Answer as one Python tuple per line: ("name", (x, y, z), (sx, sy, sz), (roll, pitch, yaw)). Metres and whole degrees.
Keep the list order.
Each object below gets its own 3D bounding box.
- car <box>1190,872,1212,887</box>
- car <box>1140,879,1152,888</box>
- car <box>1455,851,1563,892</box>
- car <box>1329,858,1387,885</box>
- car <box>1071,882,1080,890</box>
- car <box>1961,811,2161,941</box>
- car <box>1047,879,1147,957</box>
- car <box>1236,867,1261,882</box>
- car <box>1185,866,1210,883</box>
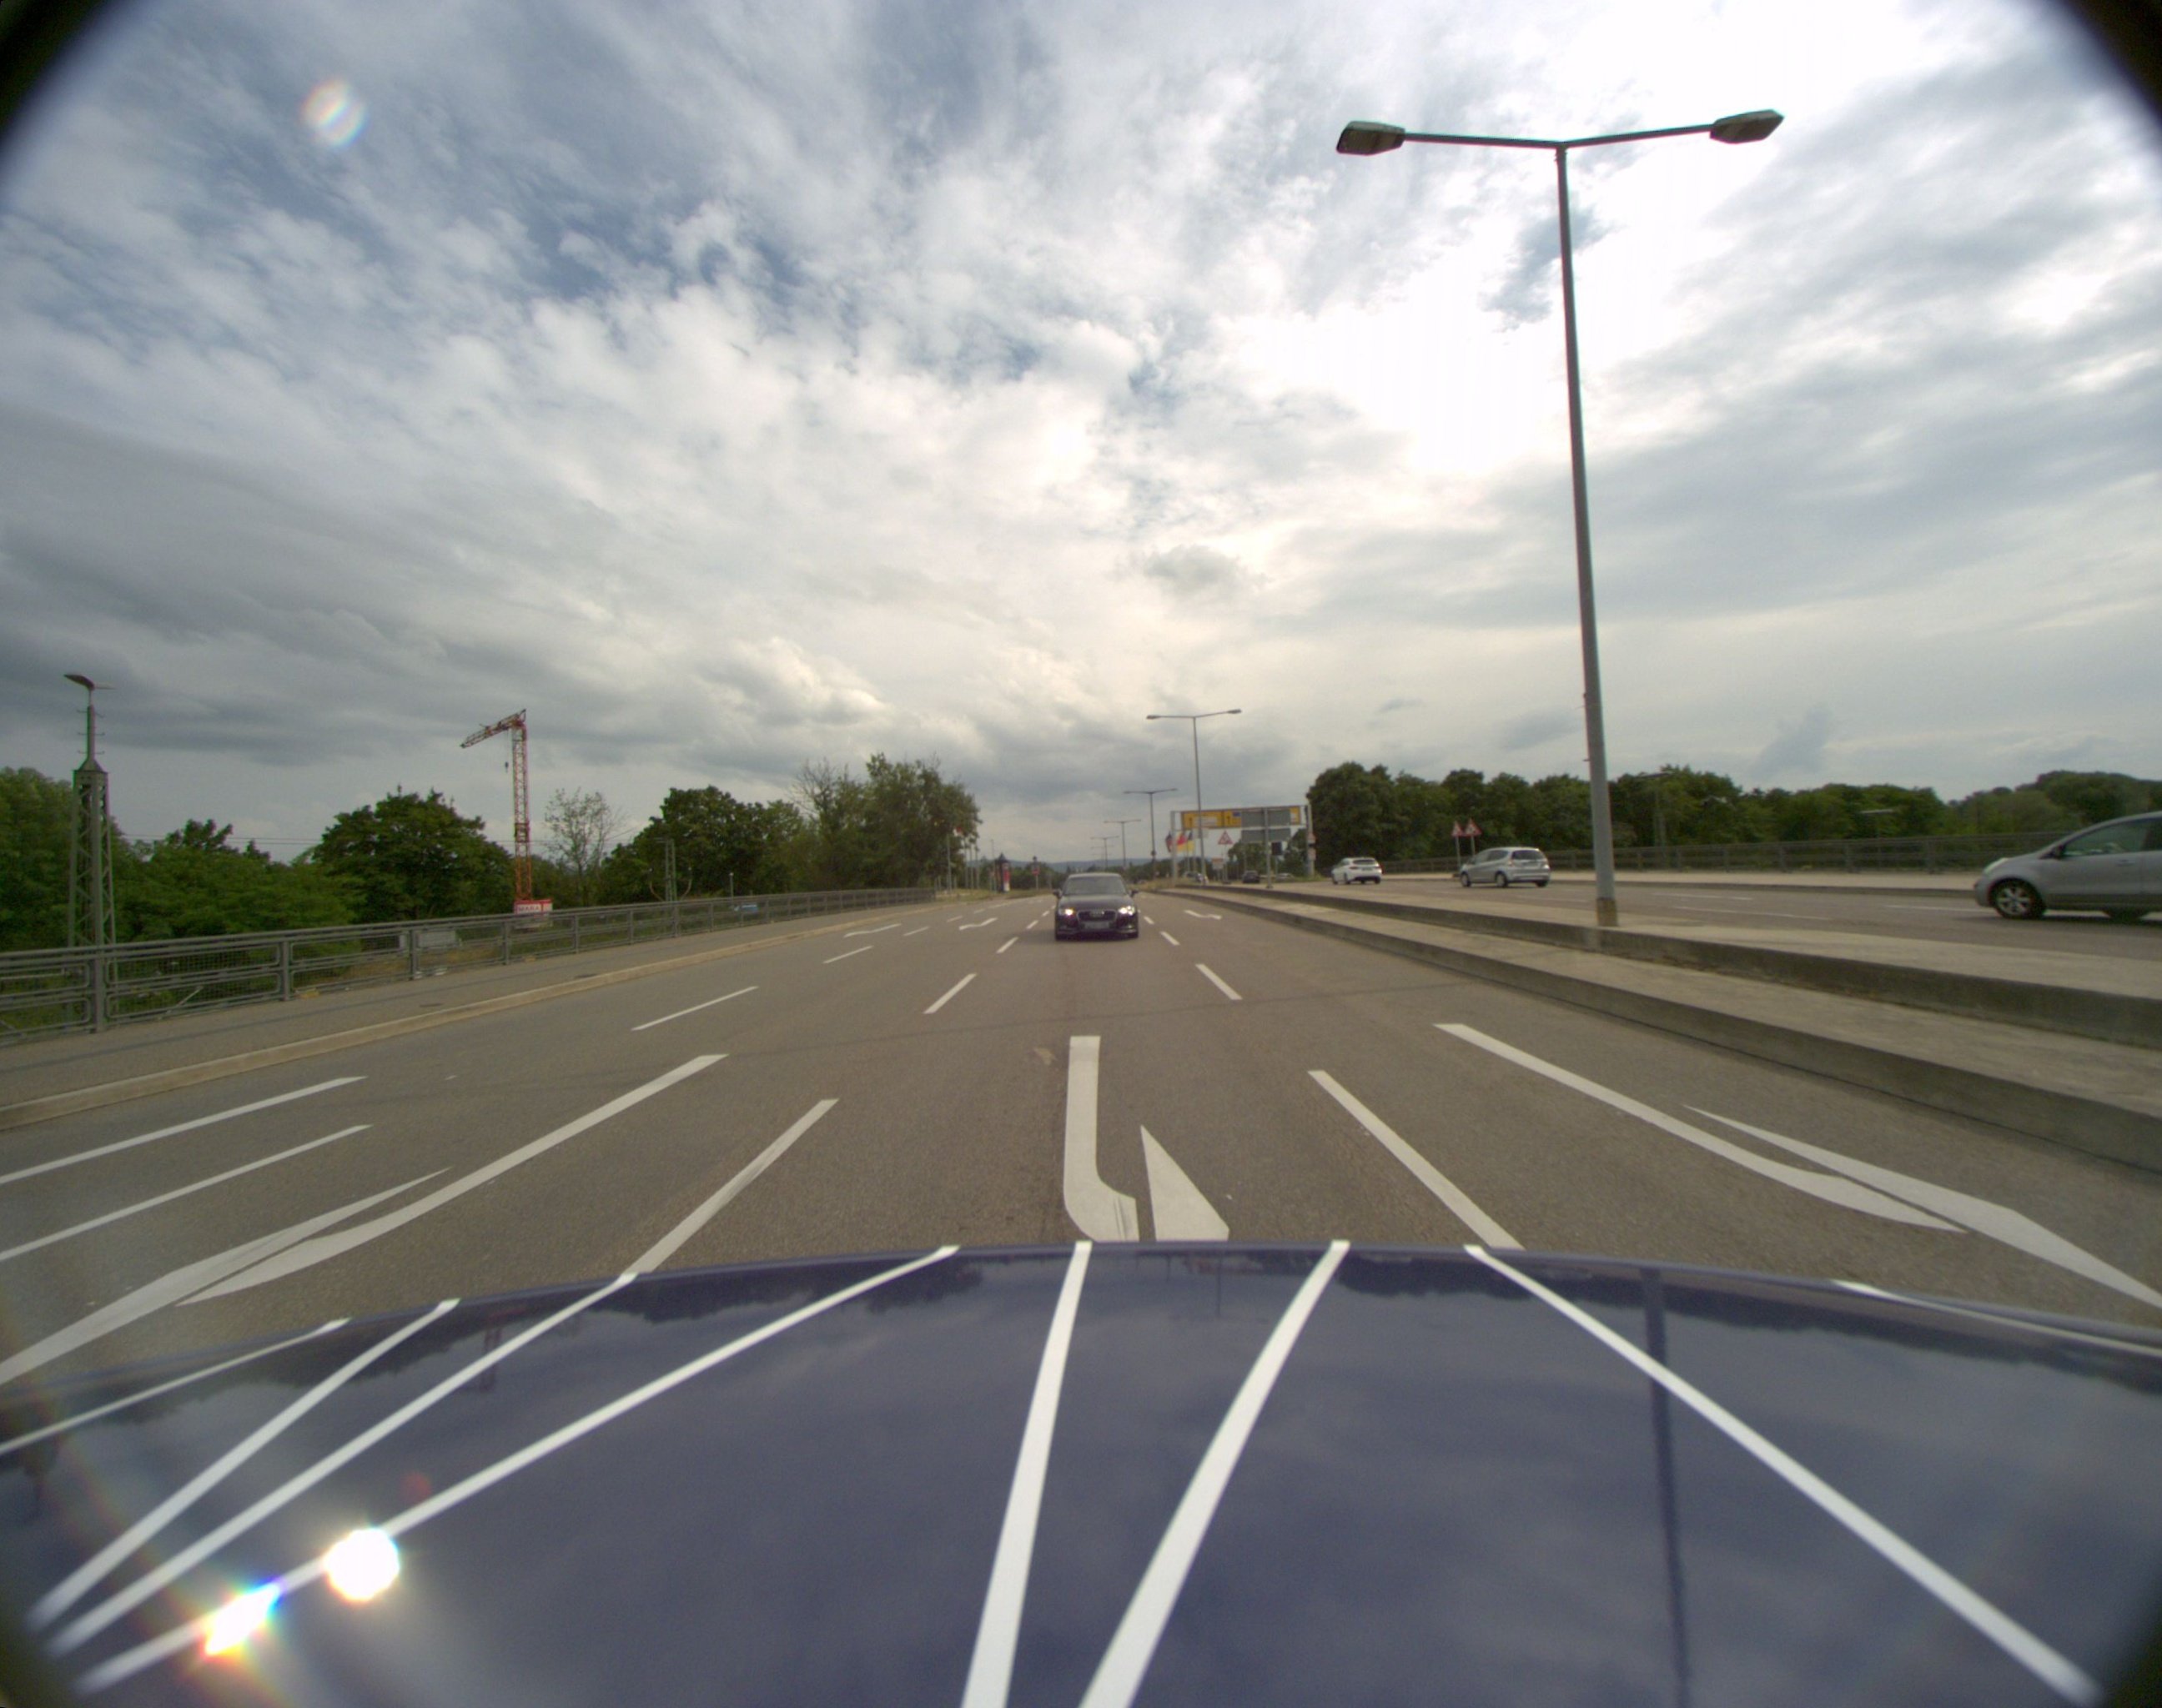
("car", (14.593, 3.097, 92.422), (1.892, 1.630, 4.219), (-3, -1, 0))
("car", (12.067, 5.435, 141.835), (1.727, 1.522, 3.918), (-3, -1, -2))
("car", (16.369, 0.629, 29.306), (1.813, 1.407, 4.029), (-2, 0, -2))
("car", (15.624, 0.987, 43.065), (1.923, 1.407, 4.884), (-2, -1, 6))
("car", (-1.030, 6.271, 150.391), (1.746, 1.467, 3.813), (-3, -1, -1))
("car", (14.668, 0.261, 9.892), (1.746, 1.649, 4.080), (-1, 0, 2))
("car", (0.311, 1.289, 16.671), (1.852, 1.355, 4.730), (-1, -1, 0))
("car", (19.278, 2.353, 87.523), (1.891, 1.630, 4.547), (-3, -1, 2))
("car", (11.941, 2.083, 78.404), (1.891, 1.630, 4.586), (-3, -1, 1))
